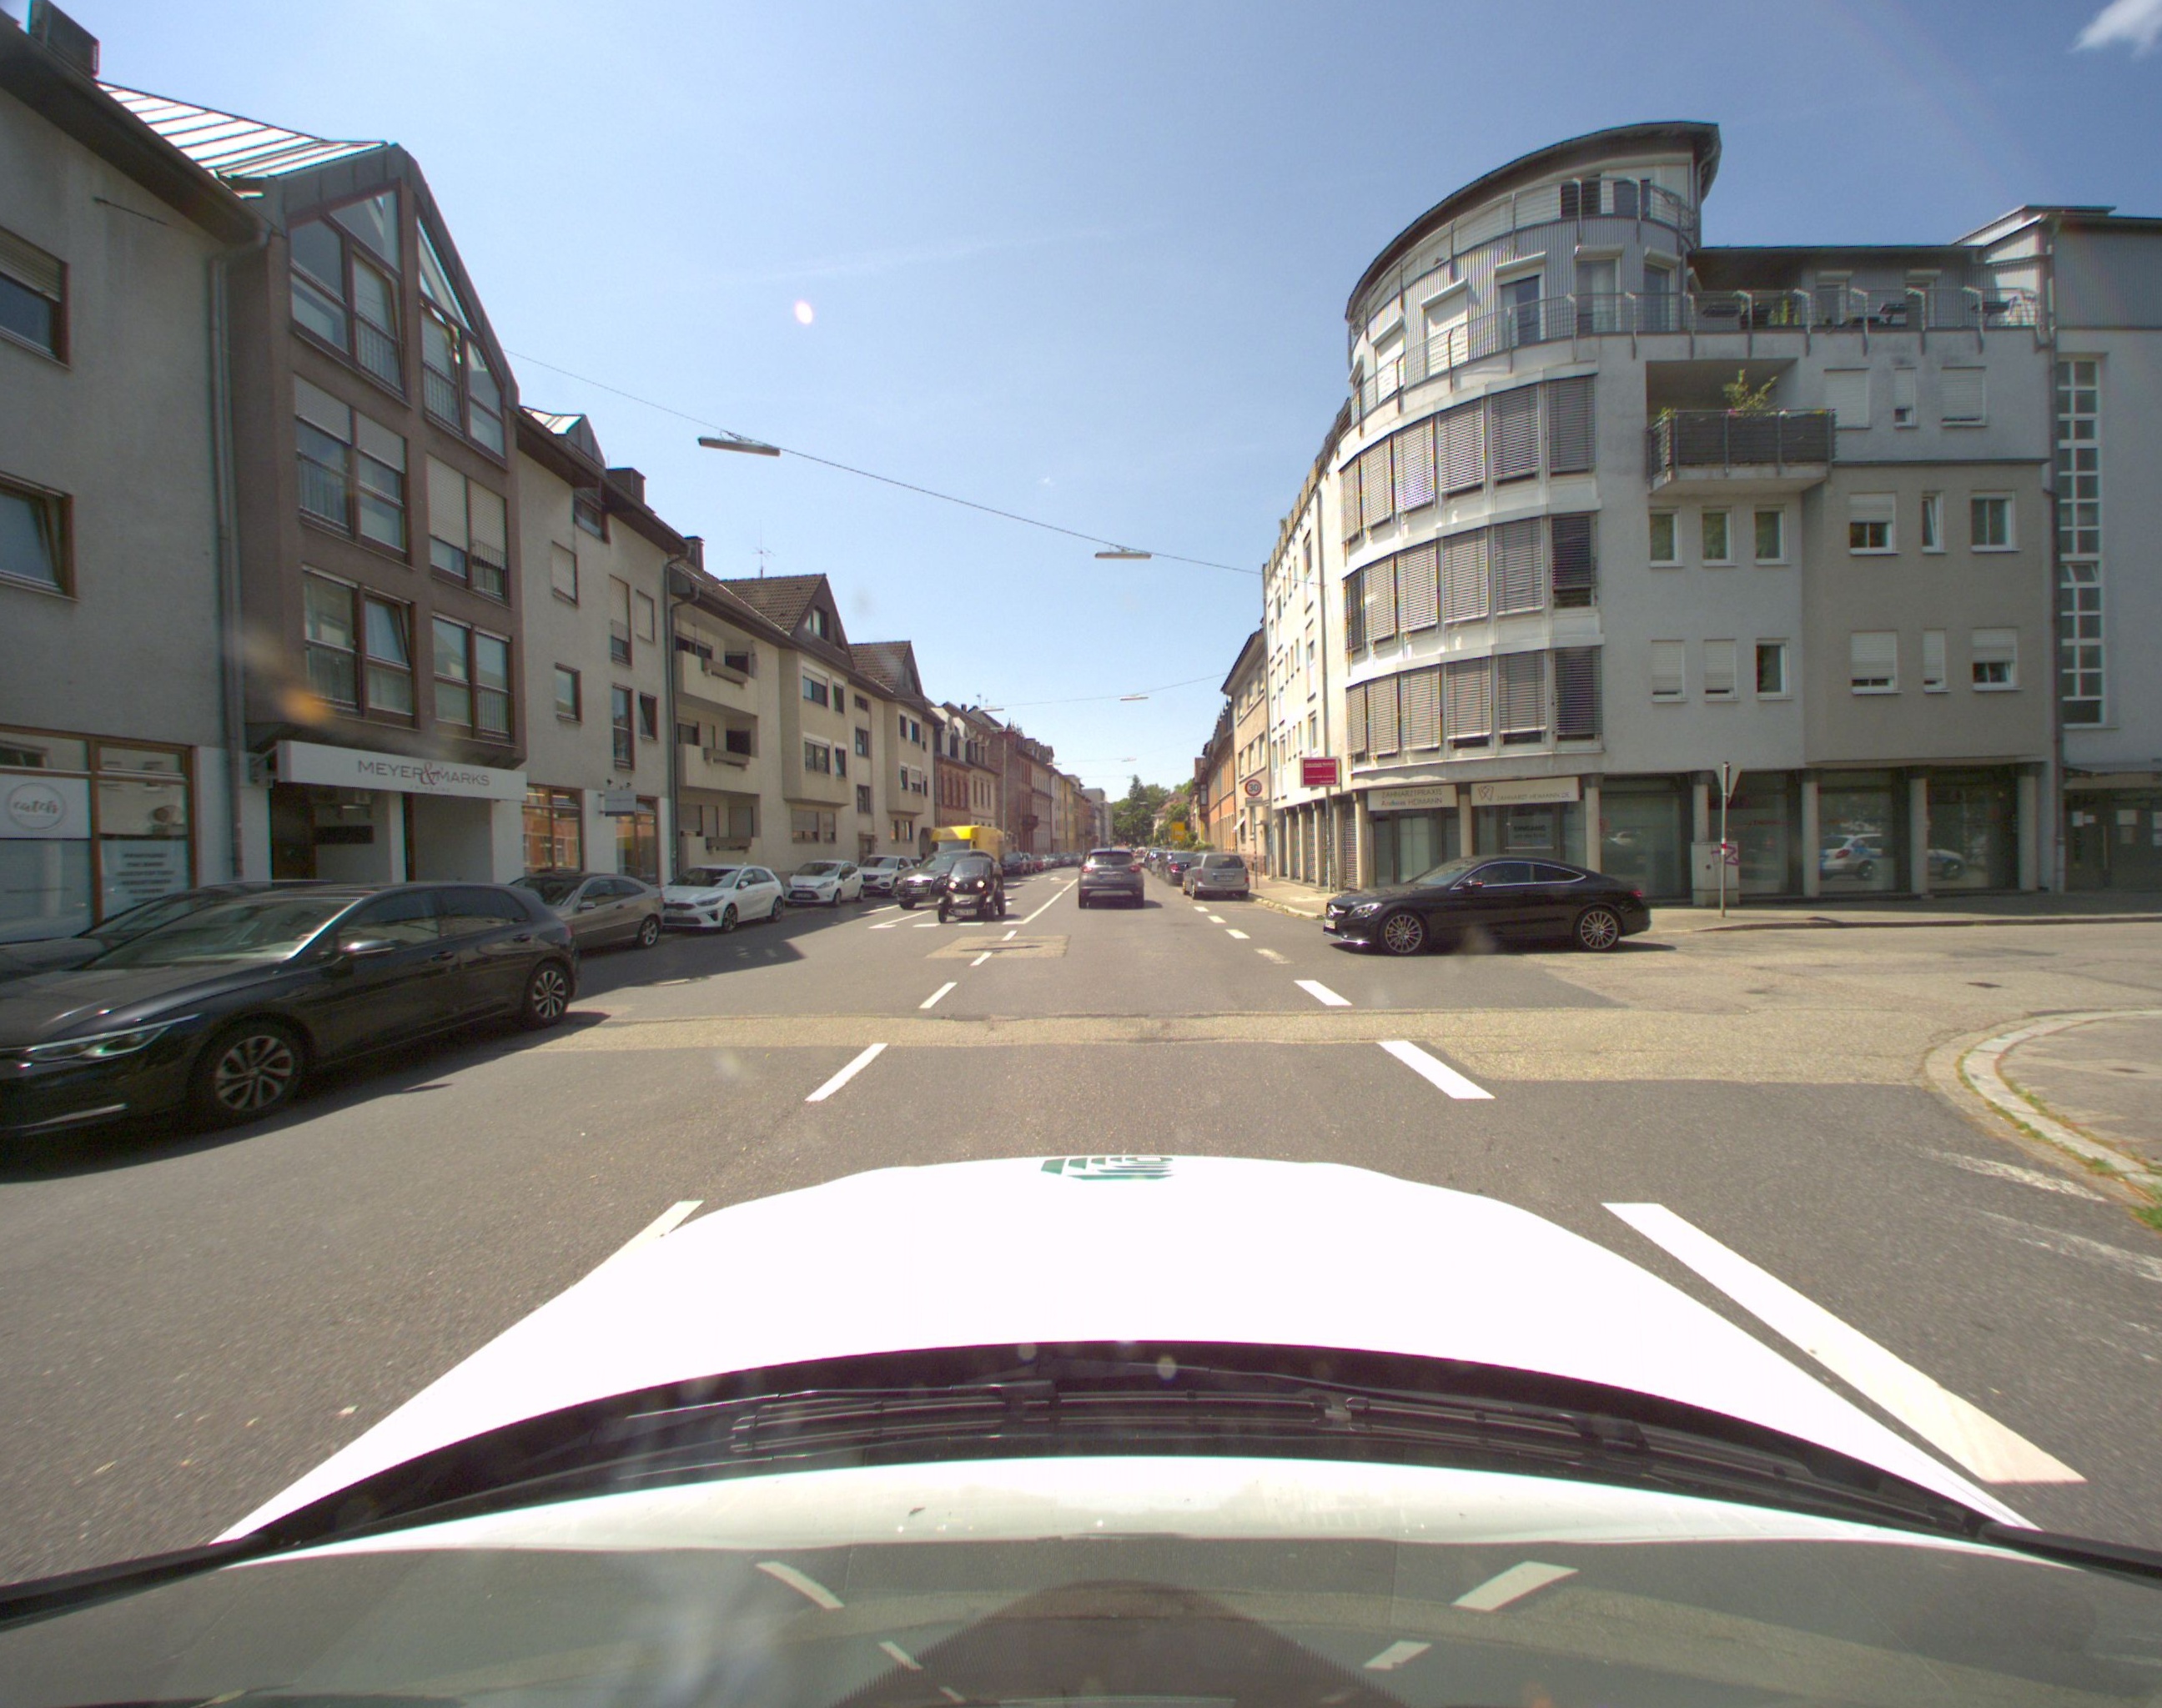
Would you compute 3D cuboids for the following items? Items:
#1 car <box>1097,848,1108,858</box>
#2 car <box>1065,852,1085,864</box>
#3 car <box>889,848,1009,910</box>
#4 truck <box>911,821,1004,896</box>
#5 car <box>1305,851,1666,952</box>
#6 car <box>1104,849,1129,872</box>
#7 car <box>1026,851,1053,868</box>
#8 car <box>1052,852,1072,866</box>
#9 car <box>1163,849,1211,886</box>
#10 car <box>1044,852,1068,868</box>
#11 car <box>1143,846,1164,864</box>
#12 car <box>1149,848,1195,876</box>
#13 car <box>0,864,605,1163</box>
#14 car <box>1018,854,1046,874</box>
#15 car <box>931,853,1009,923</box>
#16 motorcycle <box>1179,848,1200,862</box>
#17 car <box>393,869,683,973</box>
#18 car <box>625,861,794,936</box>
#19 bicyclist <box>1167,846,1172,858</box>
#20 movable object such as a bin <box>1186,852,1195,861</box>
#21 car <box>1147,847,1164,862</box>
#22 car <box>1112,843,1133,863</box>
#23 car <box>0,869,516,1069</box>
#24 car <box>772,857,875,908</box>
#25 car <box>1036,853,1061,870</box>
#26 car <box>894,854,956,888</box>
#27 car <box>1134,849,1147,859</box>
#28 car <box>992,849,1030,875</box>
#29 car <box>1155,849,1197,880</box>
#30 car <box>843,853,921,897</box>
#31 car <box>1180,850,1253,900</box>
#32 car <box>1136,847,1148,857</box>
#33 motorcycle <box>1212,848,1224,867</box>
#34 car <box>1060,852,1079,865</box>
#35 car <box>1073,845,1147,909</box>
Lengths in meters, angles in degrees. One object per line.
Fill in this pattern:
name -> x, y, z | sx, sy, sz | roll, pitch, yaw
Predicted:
car -> 3.815, -0.136, 146.709 | 1.898, 1.619, 4.304 | -3, 0, 2
car -> -0.704, 0.495, 101.730 | 1.830, 1.422, 4.566 | -4, 0, 6
car -> -3.830, 0.673, 24.469 | 1.799, 1.620, 4.459 | -3, 0, 15
truck -> -5.094, 0.157, 35.026 | 2.216, 2.771, 7.572 | -3, 0, 4
car -> 5.978, 0.661, 12.474 | 4.566, 1.365, 2.000 | -1, 0, 0
car -> 2.759, 0.471, 62.589 | 1.804, 1.620, 4.446 | -3, 0, 4
car -> -3.711, 0.480, 73.129 | 1.831, 1.422, 4.507 | -3, 0, 4
car -> -2.062, 0.579, 90.066 | 1.832, 1.422, 4.506 | -3, 0, 3
car -> 4.479, 0.531, 34.973 | 1.704, 1.473, 4.442 | -2, 0, 3
car -> -2.591, 0.631, 84.827 | 1.830, 1.422, 4.510 | -5, 0, 6
car -> 7.086, 0.067, 79.796 | 1.984, 1.662, 4.632 | -2, 0, 5
car -> 5.068, 0.443, 45.914 | 1.849, 1.463, 4.545 | -1, 0, -3
car -> -5.813, 0.855, 6.201 | 1.736, 1.419, 4.225 | -2, 0, 2
car -> -3.957, 0.796, 66.575 | 1.833, 1.422, 4.504 | -4, 0, 1
car -> -2.484, 0.716, 18.774 | 1.493, 1.459, 2.720 | -1, 0, -2
motorcycle -> 11.808, 0.104, 88.577 | 2.119, 1.408, 0.939 | -3, 0, 4
car -> -8.813, 0.995, 13.793 | 1.832, 1.384, 4.330 | 1, 0, 2
car -> -8.481, 0.935, 19.082 | 1.833, 1.489, 4.388 | 1, 0, 1
bicyclist -> 10.708, -0.205, 98.723 | 0.530, 1.469, 0.792 | -2, 0, 5
movable object such as a bin -> 10.669, 0.247, 79.471 | 0.785, 0.907, 0.539 | -2, 0, 2
car -> 8.825, 0.059, 96.918 | 1.853, 1.747, 4.621 | 0, 0, 2
car -> 4.490, -0.102, 87.361 | 1.984, 2.013, 4.473 | -2, 0, 6
car -> -8.961, 0.952, 8.912 | 1.832, 1.447, 4.973 | 1, 0, 3
car -> -8.377, 0.880, 26.884 | 1.832, 1.489, 4.388 | 1, 0, 2
car -> -3.114, 0.717, 78.973 | 1.832, 1.422, 4.506 | -6, -1, 3
car -> -7.313, 0.769, 38.501 | 1.832, 1.488, 4.390 | 1, 0, 3
car -> 9.616, -0.038, 131.283 | 1.754, 1.560, 3.950 | -2, 0, 7
car -> -4.782, 0.548, 56.059 | 1.831, 1.596, 4.507 | -3, 0, 4
car -> 4.710, 0.503, 40.742 | 1.646, 1.420, 4.048 | -1, 0, 0
car -> -7.793, 0.784, 32.336 | 1.832, 1.595, 4.388 | 1, 0, 2
car -> 4.194, 0.601, 25.783 | 1.672, 1.454, 4.143 | 0, 0, 1
car -> 10.420, -0.335, 138.360 | 1.754, 1.560, 3.950 | -2, 0, 7
motorcycle -> 8.885, 0.233, 52.836 | 0.593, 1.225, 1.363 | -1, 0, 4
car -> -1.363, 0.514, 95.973 | 1.832, 1.422, 4.649 | -3, 0, 3
car -> 0.721, 0.564, 22.856 | 1.740, 1.616, 3.996 | -1, 0, -3
